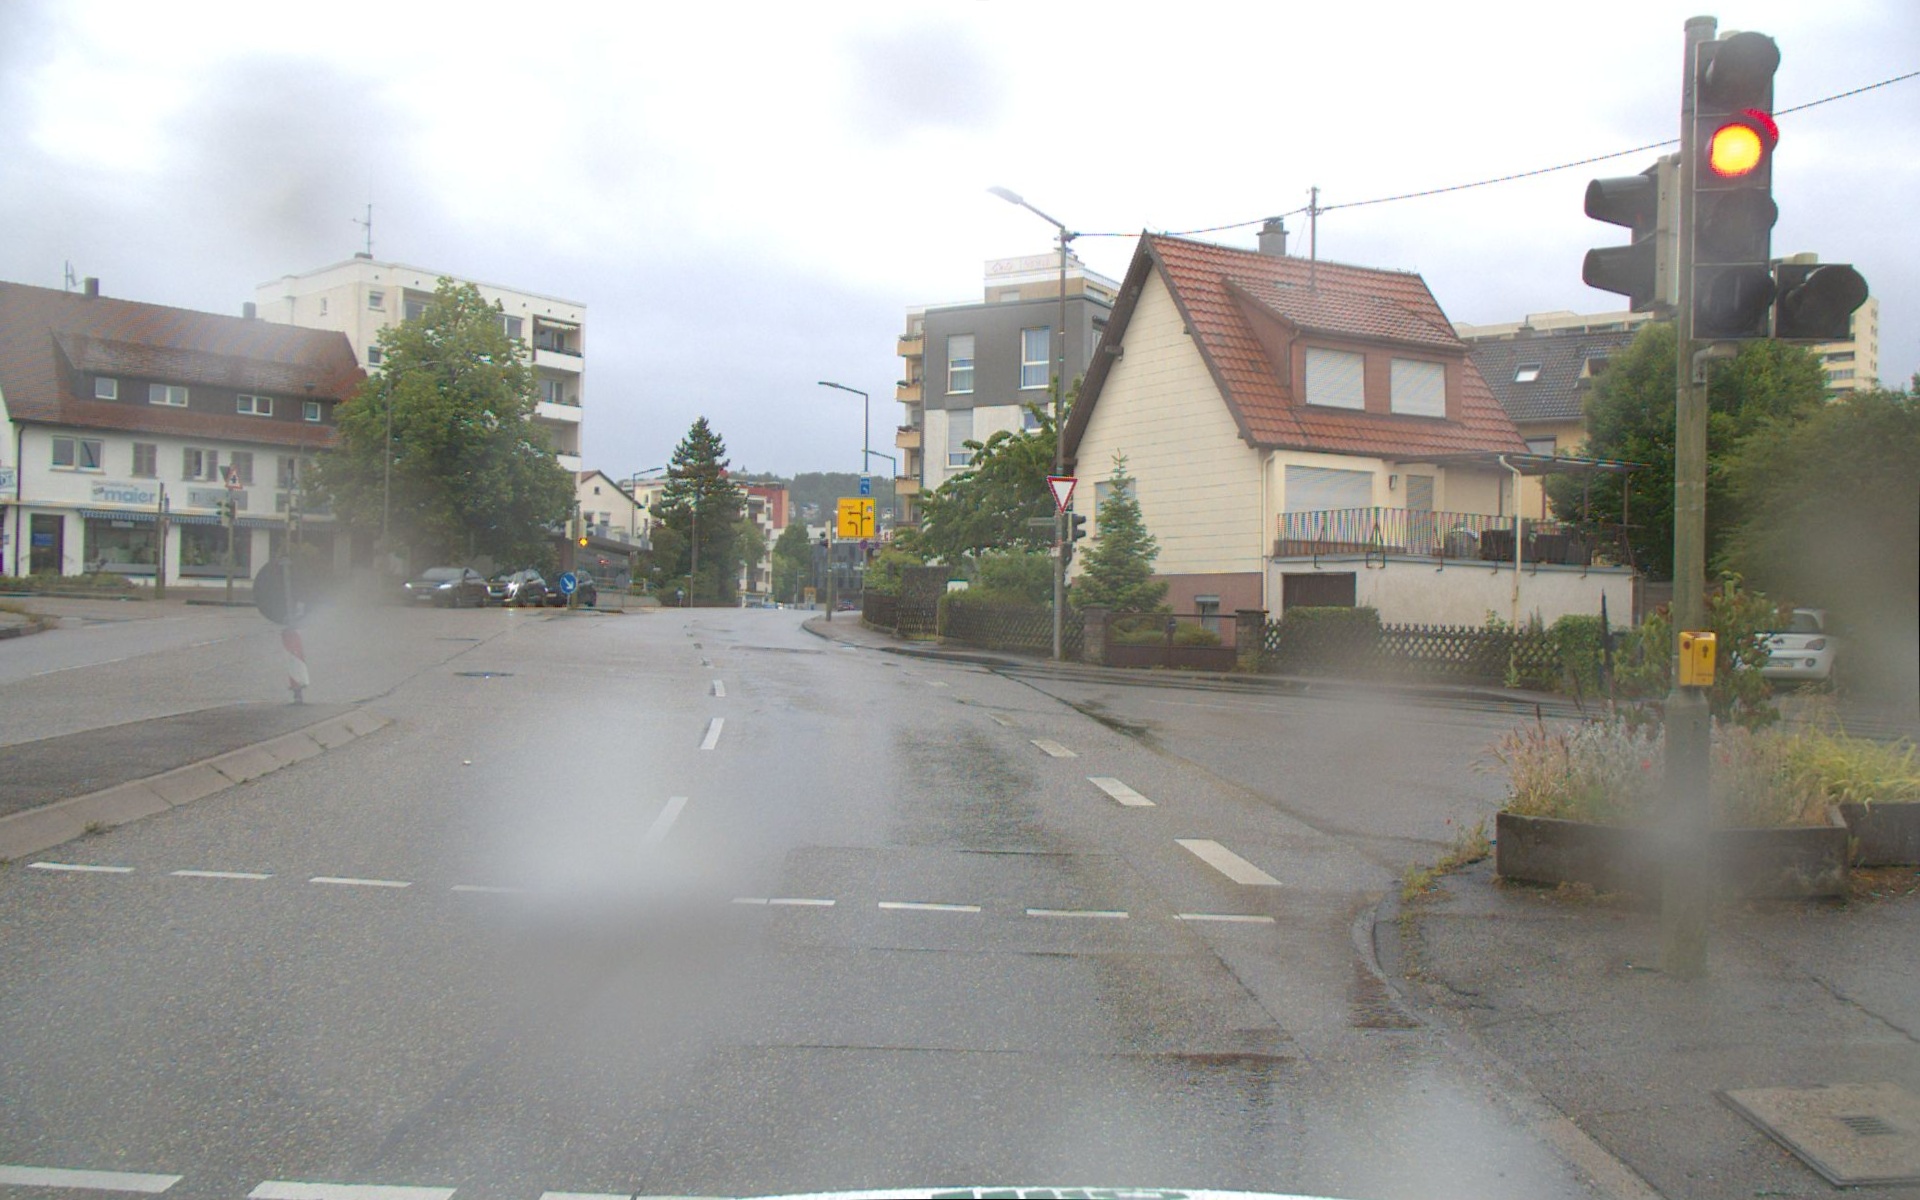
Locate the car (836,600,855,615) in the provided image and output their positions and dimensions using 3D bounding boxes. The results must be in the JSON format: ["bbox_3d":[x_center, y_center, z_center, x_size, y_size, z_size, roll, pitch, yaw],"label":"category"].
[{"bbox_3d":[-12.618,0.827,182.190,1.776,1.512,4.189,0,1,0],"label":"car"}]

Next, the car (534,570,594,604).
[{"bbox_3d":[-17.435,-0.583,73.010,1.742,1.445,3.830,1,1,-1],"label":"car"}]

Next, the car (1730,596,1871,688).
[{"bbox_3d":[15.587,0.735,30.572,1.710,1.541,3.985,2,1,36],"label":"car"}]

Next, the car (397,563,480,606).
[{"bbox_3d":[-18.383,-0.551,58.441,1.742,1.445,3.830,1,1,-1],"label":"car"}]

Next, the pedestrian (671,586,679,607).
[{"bbox_3d":[-23.547,-0.270,136.597,0.486,1.687,0.434,1,0,5],"label":"pedestrian"}]

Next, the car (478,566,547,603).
[{"bbox_3d":[-17.791,-0.634,65.877,1.680,1.411,4.020,1,1,-1],"label":"car"}]
